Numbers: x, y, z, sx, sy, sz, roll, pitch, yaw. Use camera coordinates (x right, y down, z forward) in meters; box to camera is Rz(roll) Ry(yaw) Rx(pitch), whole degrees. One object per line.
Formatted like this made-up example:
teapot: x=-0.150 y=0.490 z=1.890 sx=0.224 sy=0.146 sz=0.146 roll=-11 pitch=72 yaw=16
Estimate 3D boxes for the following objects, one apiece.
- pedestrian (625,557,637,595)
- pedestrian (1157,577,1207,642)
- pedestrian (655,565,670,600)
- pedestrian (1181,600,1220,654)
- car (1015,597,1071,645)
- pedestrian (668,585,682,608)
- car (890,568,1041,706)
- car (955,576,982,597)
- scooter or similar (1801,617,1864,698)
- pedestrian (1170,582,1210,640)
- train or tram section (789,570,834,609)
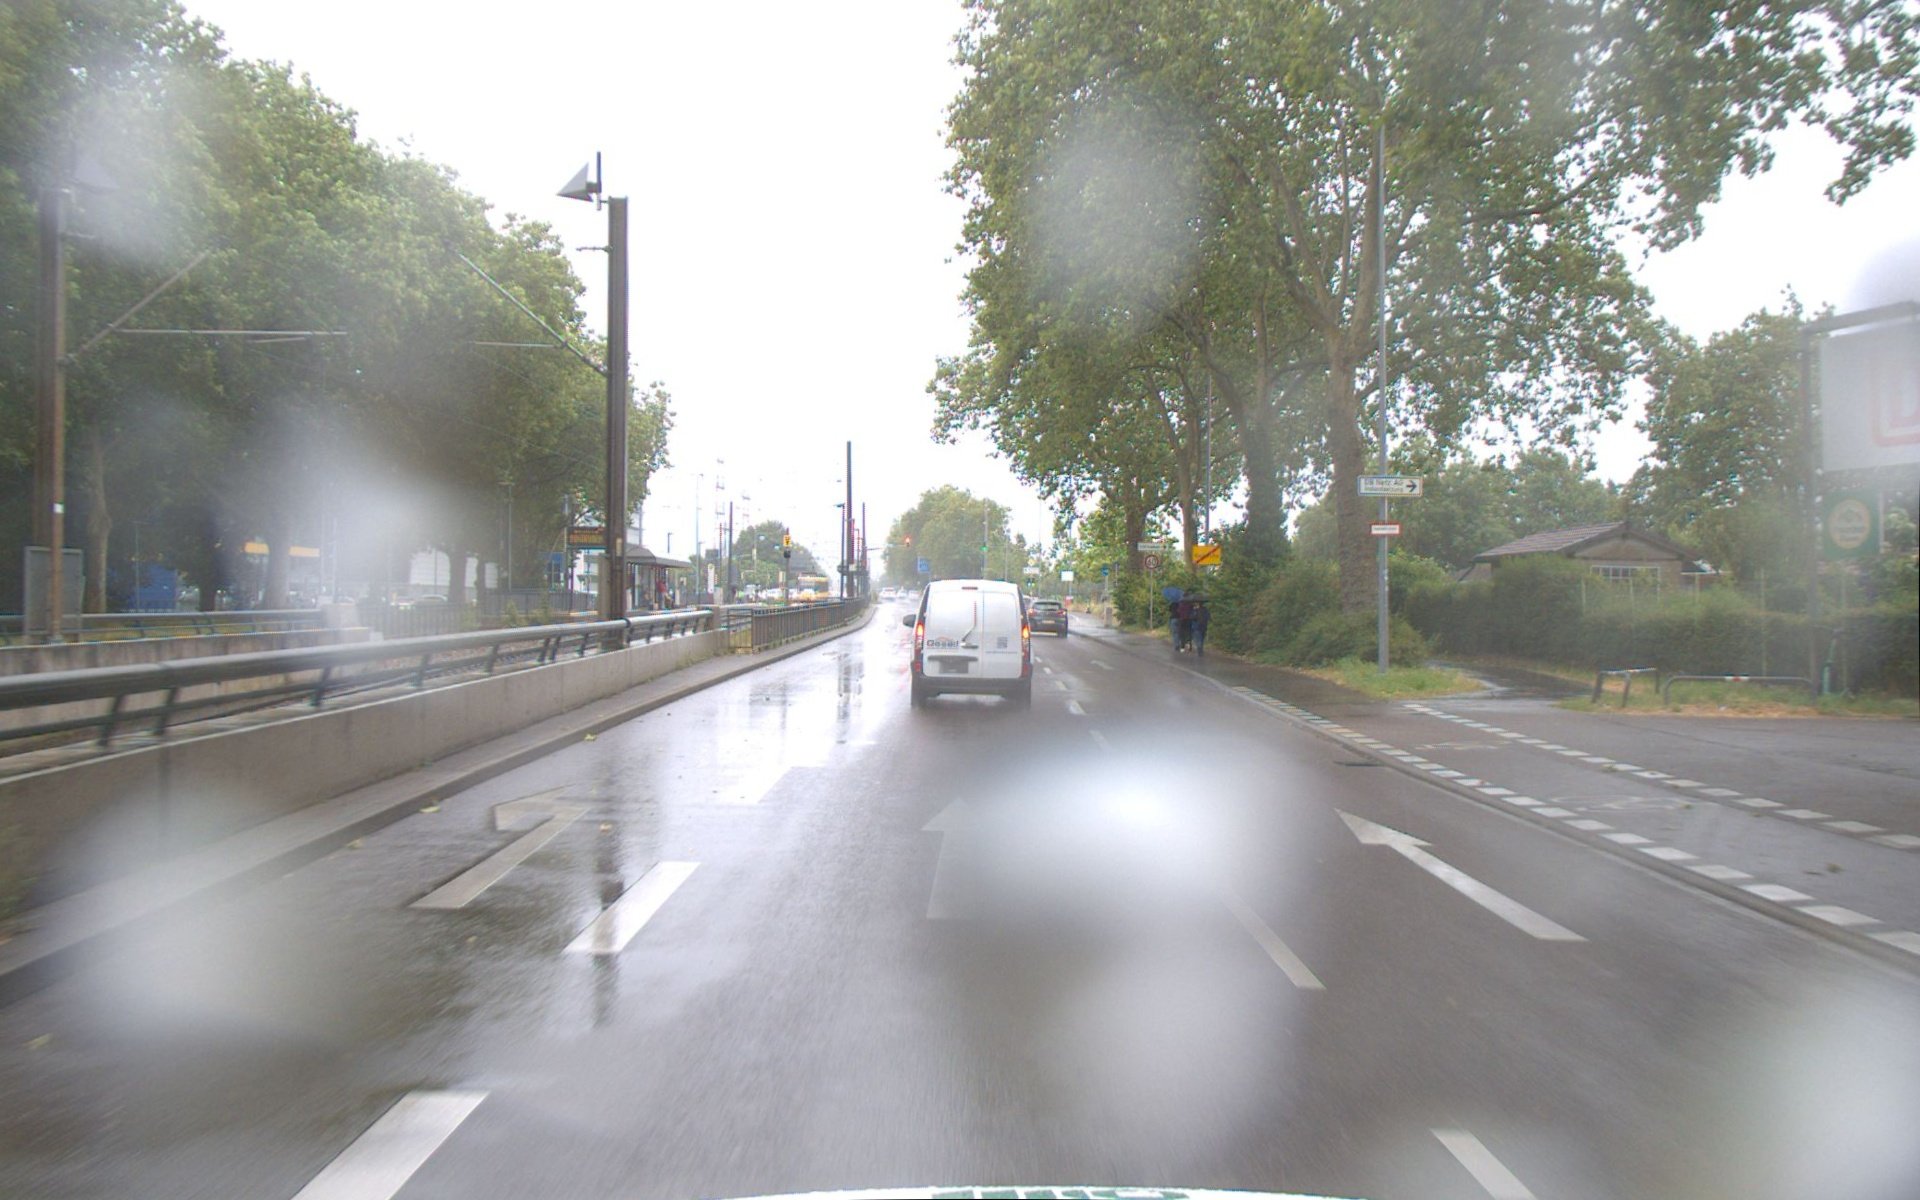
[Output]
pedestrian: x=-17.575 y=-1.279 z=88.357 sx=0.483 sy=2.049 sz=0.582 roll=2 pitch=0 yaw=-4
pedestrian: x=6.475 y=0.280 z=48.292 sx=1.214 sy=1.817 sz=1.147 roll=-3 pitch=0 yaw=0
pedestrian: x=-17.007 y=-0.989 z=94.574 sx=0.608 sy=1.966 sz=0.815 roll=2 pitch=0 yaw=3
pedestrian: x=6.394 y=0.710 z=43.954 sx=0.874 sy=1.415 sz=1.016 roll=-1 pitch=0 yaw=0
car: x=3.287 y=0.803 z=66.048 sx=1.953 sy=1.780 sz=4.000 roll=2 pitch=0 yaw=0
pedestrian: x=-17.248 y=-0.200 z=100.058 sx=0.629 sy=1.326 sz=0.815 roll=2 pitch=0 yaw=3
car: x=-0.010 y=0.509 z=24.846 sx=1.984 sy=1.806 sz=4.272 roll=2 pitch=0 yaw=-3
car: x=0.780 y=-1.228 z=152.029 sx=1.955 sy=1.780 sz=3.994 roll=2 pitch=0 yaw=-6
scooter or similar: x=12.866 y=0.837 z=24.415 sx=0.449 sy=1.137 sz=1.276 roll=2 pitch=0 yaw=12
pedestrian: x=6.482 y=0.317 z=46.664 sx=0.927 sy=1.617 sz=1.294 roll=0 pitch=0 yaw=0
train or tram section: x=-17.392 y=-1.140 z=195.414 sx=3.695 sy=4.107 sz=27.081 roll=2 pitch=0 yaw=-2
